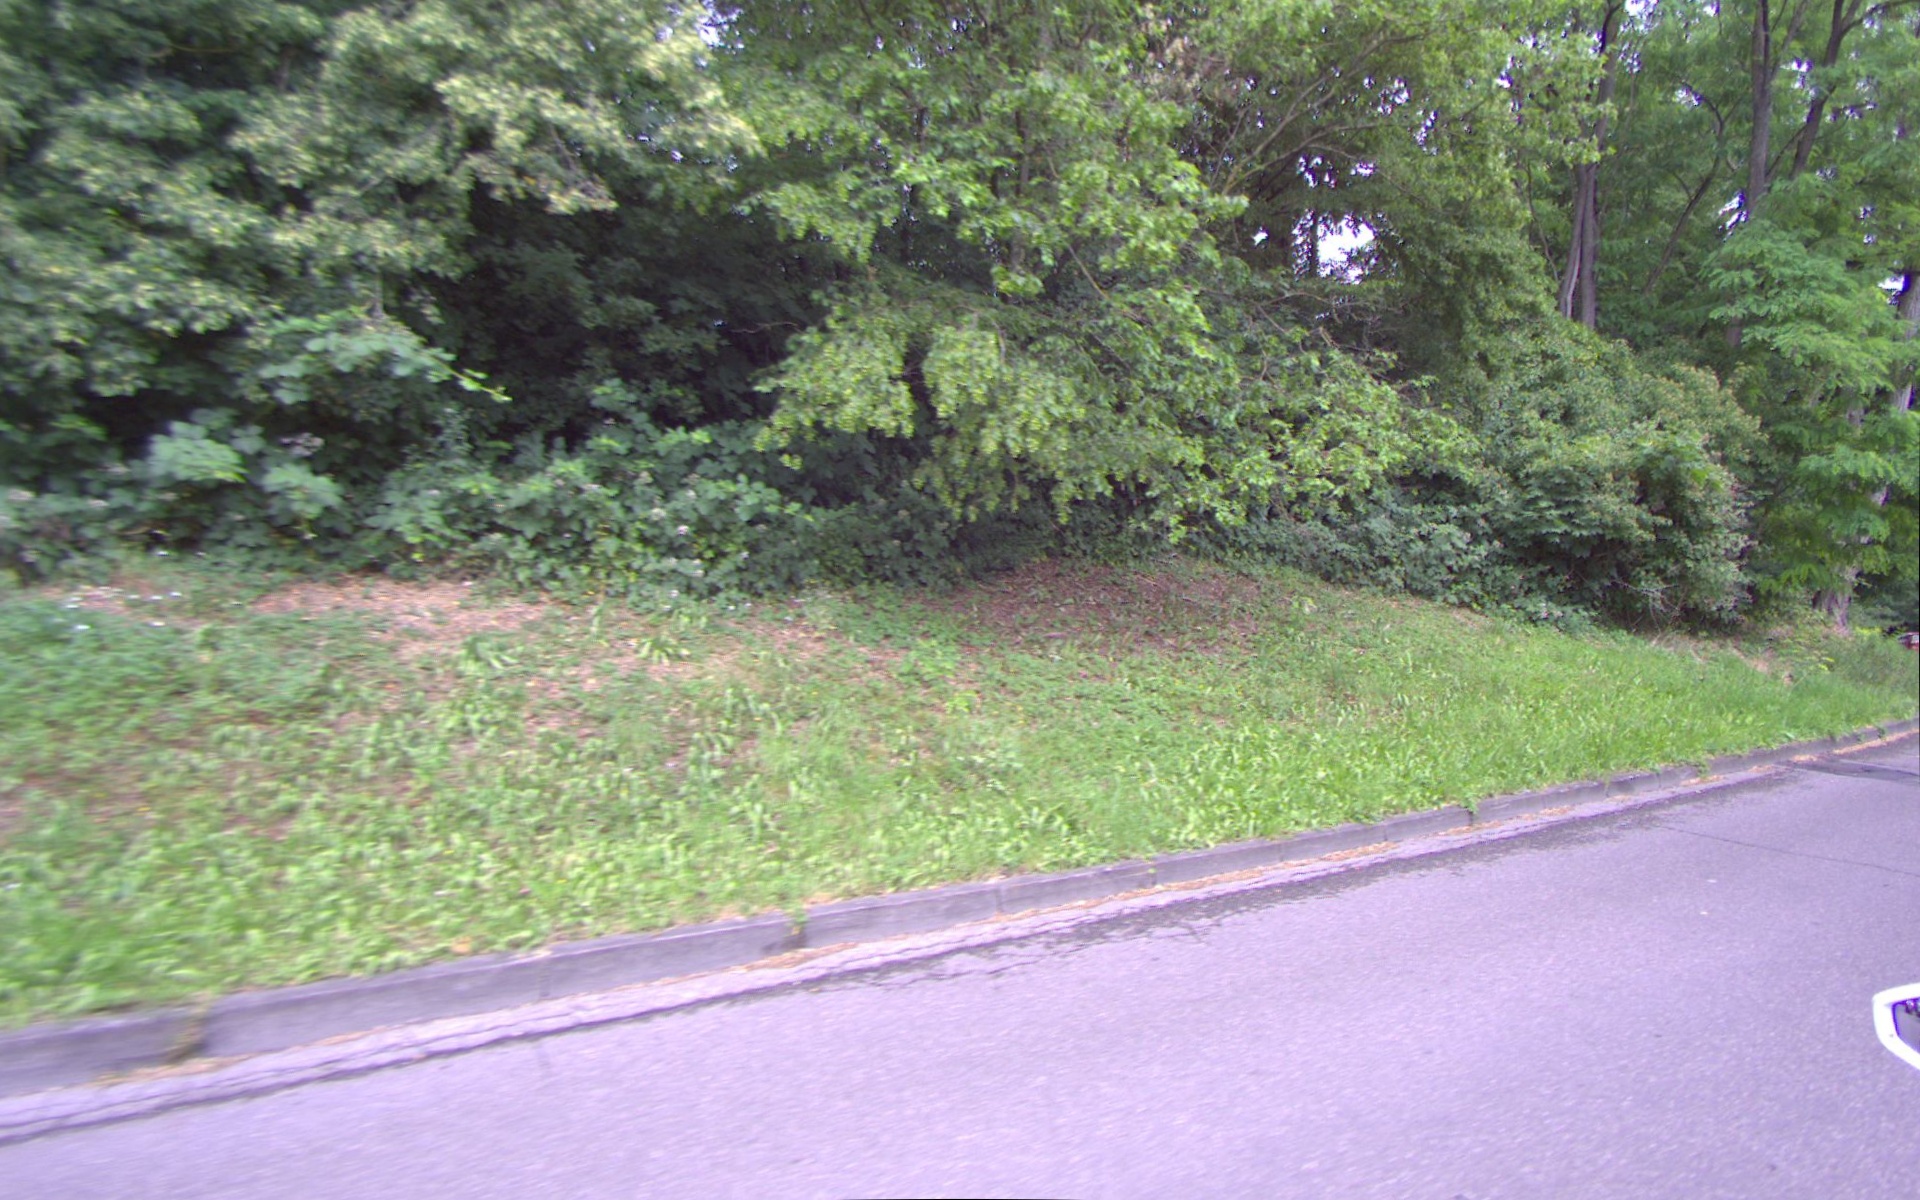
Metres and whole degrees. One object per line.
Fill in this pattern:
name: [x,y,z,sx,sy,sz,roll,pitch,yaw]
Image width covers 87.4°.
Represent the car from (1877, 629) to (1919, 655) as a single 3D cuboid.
car: [61.093,2.713,64.714,1.710,1.583,3.999,2,-1,23]
